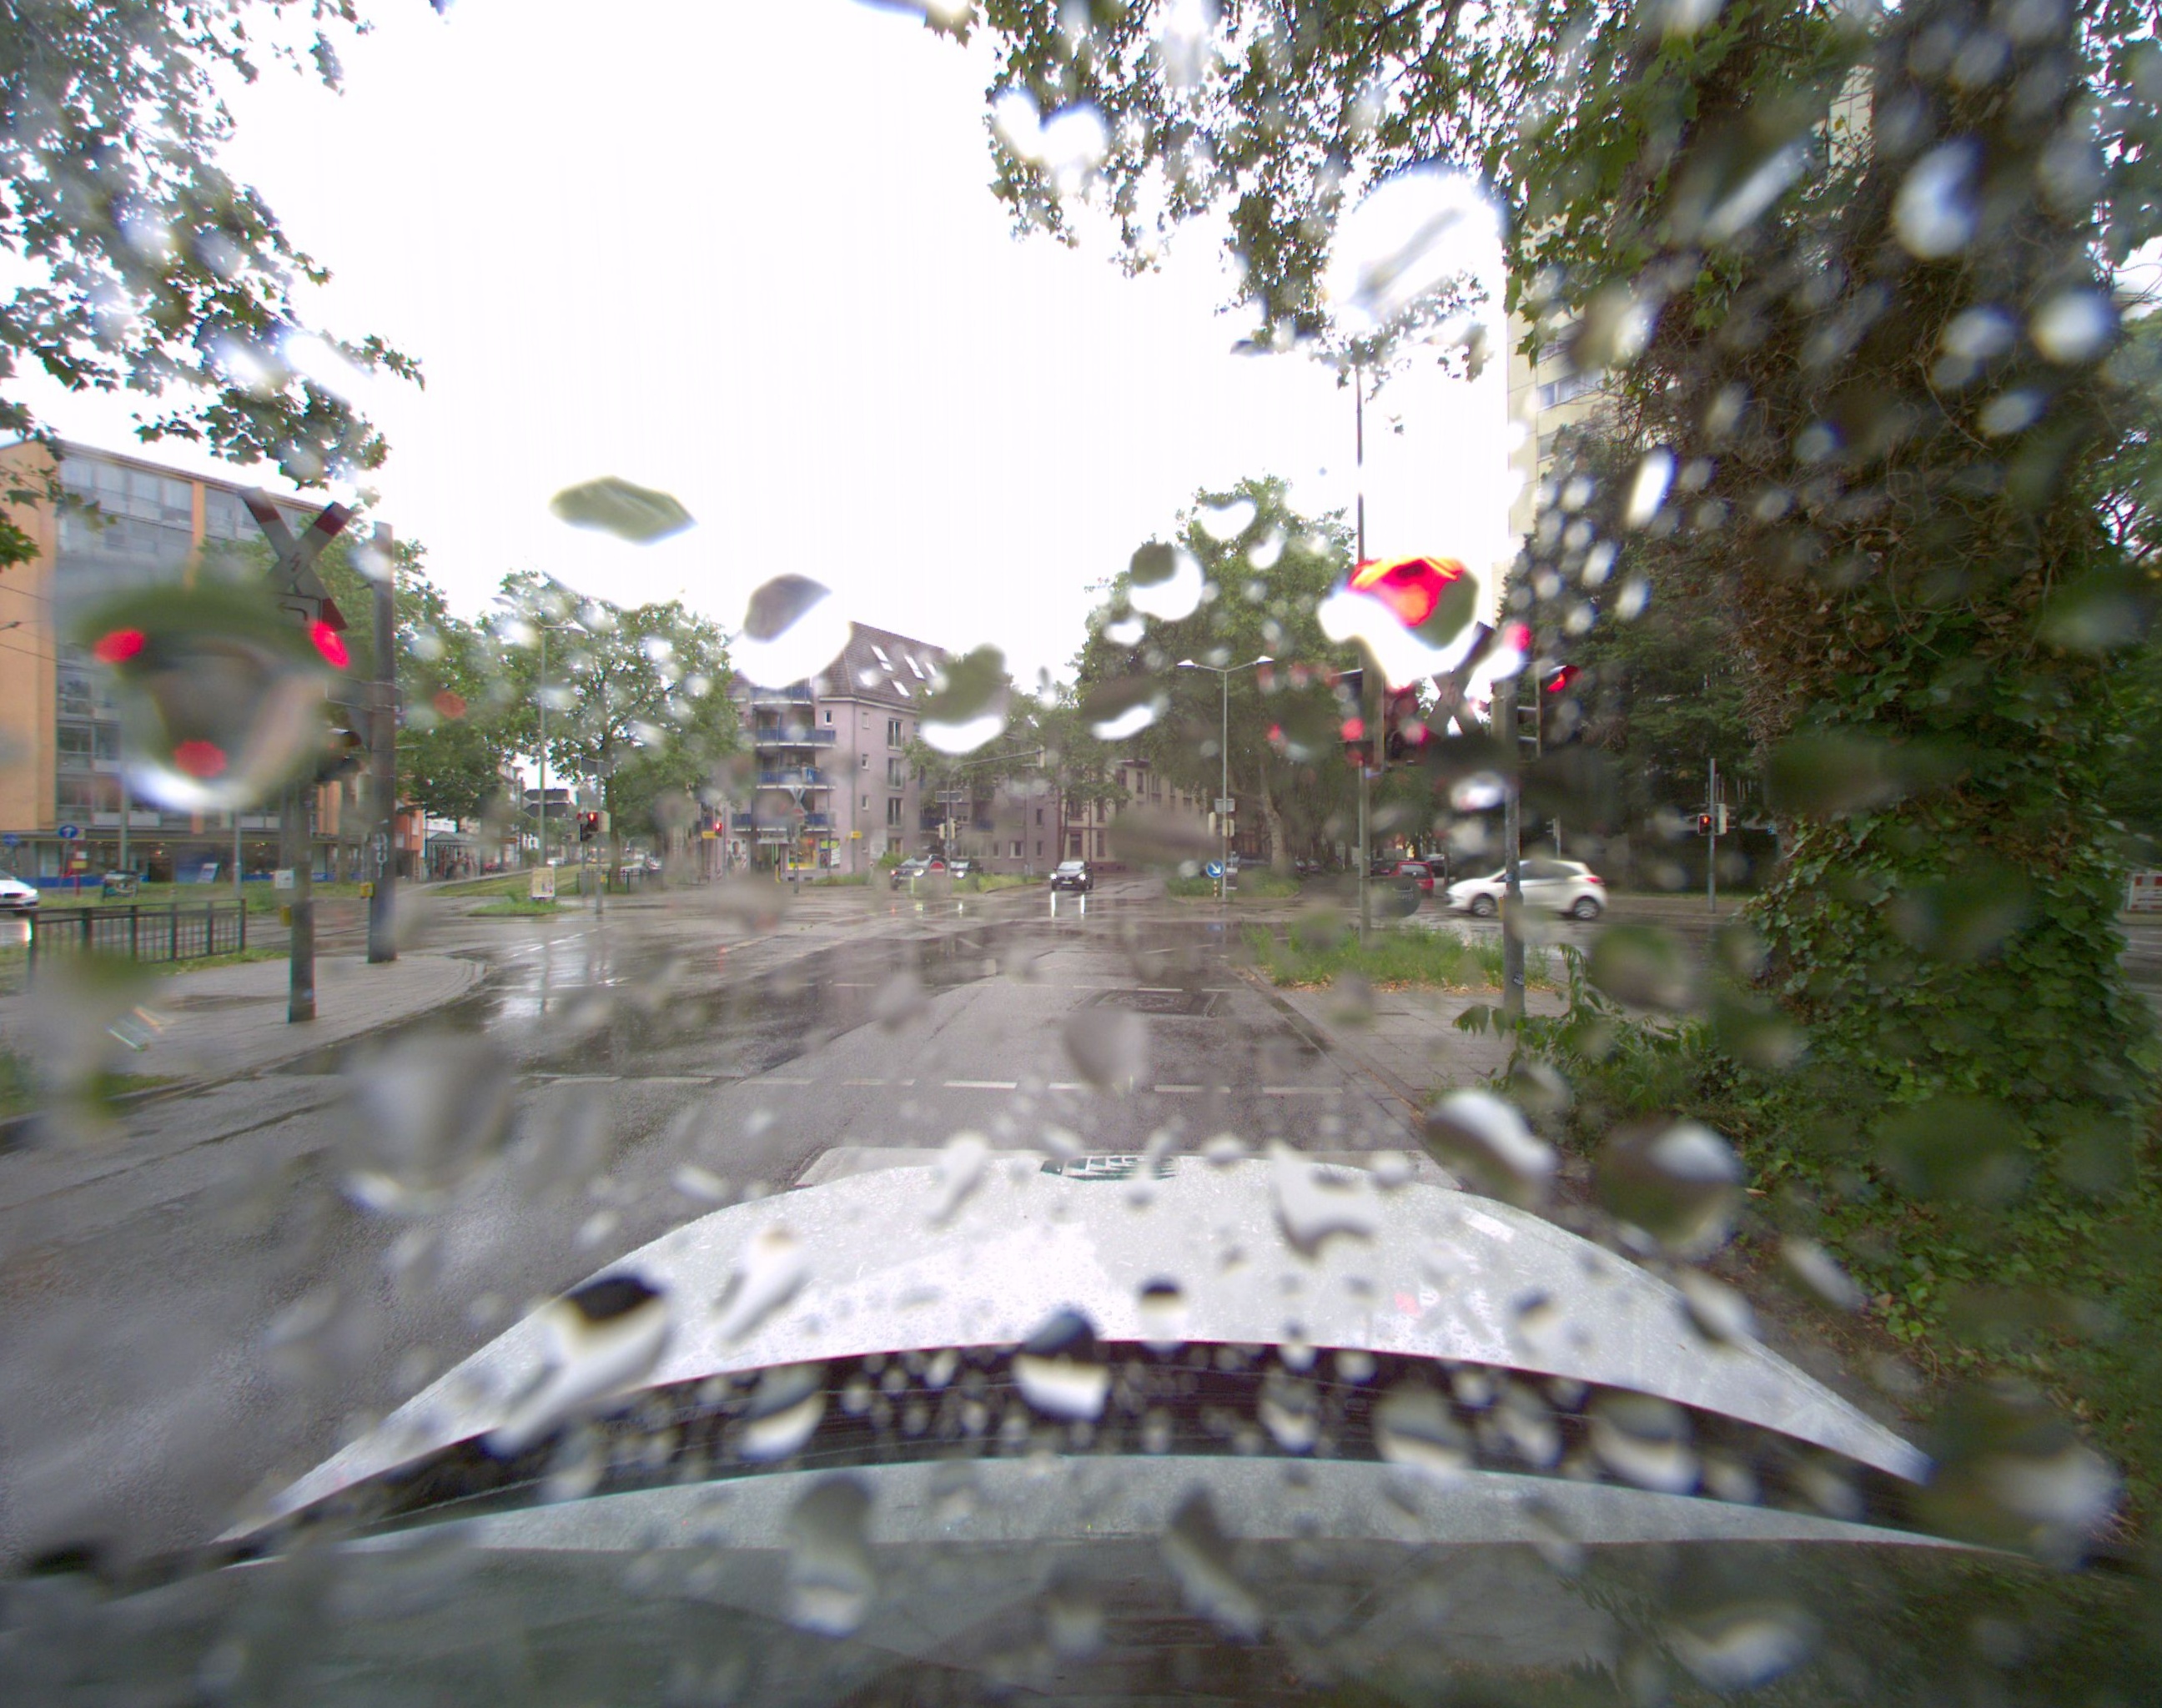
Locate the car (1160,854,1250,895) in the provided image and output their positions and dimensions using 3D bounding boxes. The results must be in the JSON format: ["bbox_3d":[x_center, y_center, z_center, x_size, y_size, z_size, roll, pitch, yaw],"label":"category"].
[{"bbox_3d":[5.024,0.807,32.949,3.457,1.523,1.524,-2,0,10],"label":"car"}]

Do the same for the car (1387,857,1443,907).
[{"bbox_3d":[14.789,1.202,36.247,1.977,2.013,4.019,-2,0,18],"label":"car"}]

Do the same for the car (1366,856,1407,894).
[{"bbox_3d":[17.813,1.174,47.603,1.977,2.013,4.019,-2,0,18],"label":"car"}]

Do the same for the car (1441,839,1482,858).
[{"bbox_3d":[42.548,-0.614,91.134,3.953,2.013,1.716,-2,0,21],"label":"car"}]

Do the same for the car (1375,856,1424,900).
[{"bbox_3d":[15.829,1.163,40.634,1.977,2.013,4.019,-2,0,18],"label":"car"}]

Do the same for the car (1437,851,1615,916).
[{"bbox_3d":[11.161,0.739,20.689,3.615,1.486,1.731,-2,0,14],"label":"car"}]

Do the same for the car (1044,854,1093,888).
[{"bbox_3d":[-0.593,0.817,40.786,1.591,1.552,3.572,-2,0,13],"label":"car"}]

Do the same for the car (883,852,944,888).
[{"bbox_3d":[-7.988,0.737,39.094,1.715,1.552,3.567,-2,0,8],"label":"car"}]

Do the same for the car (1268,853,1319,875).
[{"bbox_3d":[16.963,0.789,64.979,3.571,1.618,1.692,-2,0,30],"label":"car"}]

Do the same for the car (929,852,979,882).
[{"bbox_3d":[-6.991,0.699,45.236,1.715,1.552,3.567,-2,0,8],"label":"car"}]

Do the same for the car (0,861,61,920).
[{"bbox_3d":[-32.159,1.096,23.414,3.978,1.651,1.980,-2,0,13],"label":"car"}]
